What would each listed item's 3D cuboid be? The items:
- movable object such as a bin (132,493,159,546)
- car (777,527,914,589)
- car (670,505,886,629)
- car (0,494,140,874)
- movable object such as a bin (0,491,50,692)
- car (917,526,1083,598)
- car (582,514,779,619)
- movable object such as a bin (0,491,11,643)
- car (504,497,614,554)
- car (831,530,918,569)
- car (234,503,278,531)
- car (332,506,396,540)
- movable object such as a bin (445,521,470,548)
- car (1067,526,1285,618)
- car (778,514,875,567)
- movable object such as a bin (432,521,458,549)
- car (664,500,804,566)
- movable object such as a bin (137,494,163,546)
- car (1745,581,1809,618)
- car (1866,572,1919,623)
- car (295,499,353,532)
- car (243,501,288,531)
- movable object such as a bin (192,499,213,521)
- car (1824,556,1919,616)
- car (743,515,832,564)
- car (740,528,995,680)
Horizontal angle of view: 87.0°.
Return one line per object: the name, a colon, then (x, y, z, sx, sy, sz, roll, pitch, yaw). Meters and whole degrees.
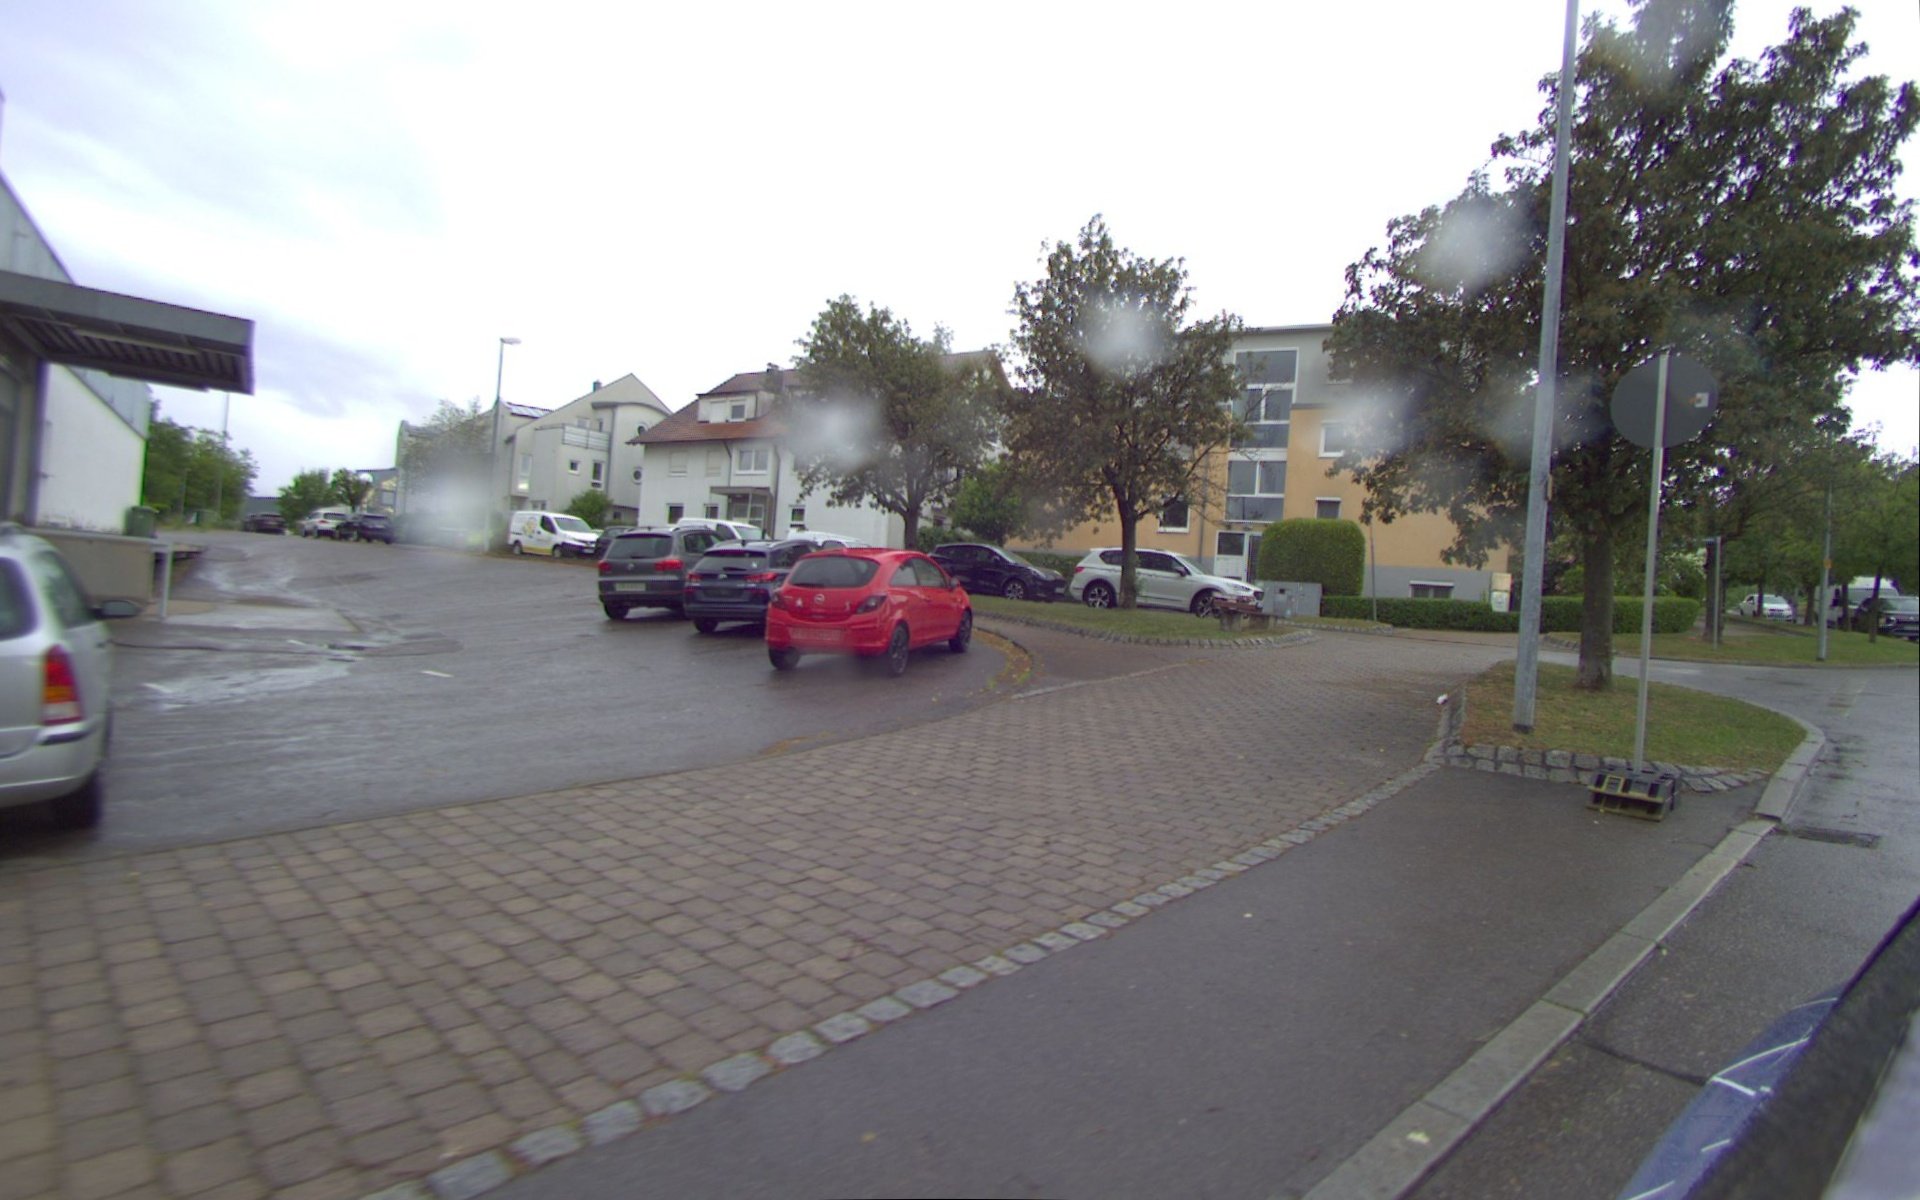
movable object such as a bin: (-26.322, -2.590, 32.711, 0.532, 1.682, 1.745, 0, 3, -35)
car: (-3.447, -1.282, 30.257, 3.804, 1.688, 1.813, 3, 3, 33)
car: (-2.905, -0.717, 17.418, 1.831, 1.602, 4.818, 2, 8, 14)
car: (-5.783, 0.241, 5.625, 1.825, 1.603, 4.325, -1, 4, -38)
movable object such as a bin: (-8.610, -0.152, 8.110, 1.700, 1.521, 2.275, 0, 4, -35)
car: (1.062, -1.027, 27.128, 3.989, 1.754, 1.934, 3, 1, 31)
car: (-5.300, -0.766, 19.928, 1.830, 1.819, 4.447, 0, 5, 13)
movable object such as a bin: (-9.951, -0.324, 9.746, 1.009, 1.513, 1.310, 0, 4, -35)
car: (-15.379, -2.844, 38.723, 4.132, 1.994, 1.931, 3, 1, 35)
car: (-3.494, -2.072, 41.847, 1.710, 1.432, 3.642, 5, 4, 32)
car: (-51.852, -6.116, 74.511, 2.156, 1.898, 3.995, 0, 3, -41)
car: (-33.126, -4.280, 56.243, 3.986, 1.720, 1.903, 6, 4, 41)
movable object such as a bin: (-26.081, -3.395, 52.491, 0.957, 1.412, 0.768, 3, 3, 30)
car: (5.117, -0.730, 24.250, 4.681, 1.836, 1.925, 5, 4, 32)
car: (-5.663, -2.513, 43.297, 1.987, 2.038, 3.953, 5, 4, 33)
movable object such as a bin: (-27.161, -3.420, 53.354, 1.033, 1.419, 0.768, 3, 3, 30)
car: (-7.408, -2.197, 33.035, 4.393, 1.953, 1.908, 3, 1, 34)
movable object such as a bin: (-27.410, -2.700, 34.253, 0.532, 1.682, 1.990, 0, 3, -35)
car: (45.606, -0.064, 56.579, 1.807, 1.806, 3.788, 3, 4, 25)
car: (35.720, -0.122, 38.005, 1.805, 1.747, 4.596, 3, 3, 34)
car: (-37.789, -5.001, 60.094, 3.987, 1.762, 1.876, 6, 4, 42)
car: (-48.612, -5.844, 70.816, 2.156, 1.898, 3.995, 0, 3, -41)
movable object such as a bin: (-42.990, -5.095, 57.451, 0.920, 1.219, 0.648, 3, 3, 32)
car: (38.835, -0.623, 43.078, 2.037, 2.359, 5.352, 3, 2, 29)
car: (-7.550, -2.641, 44.634, 1.722, 1.986, 3.846, 5, 4, 32)
car: (-1.031, -0.114, 13.621, 1.835, 1.603, 4.304, 2, 5, 19)
